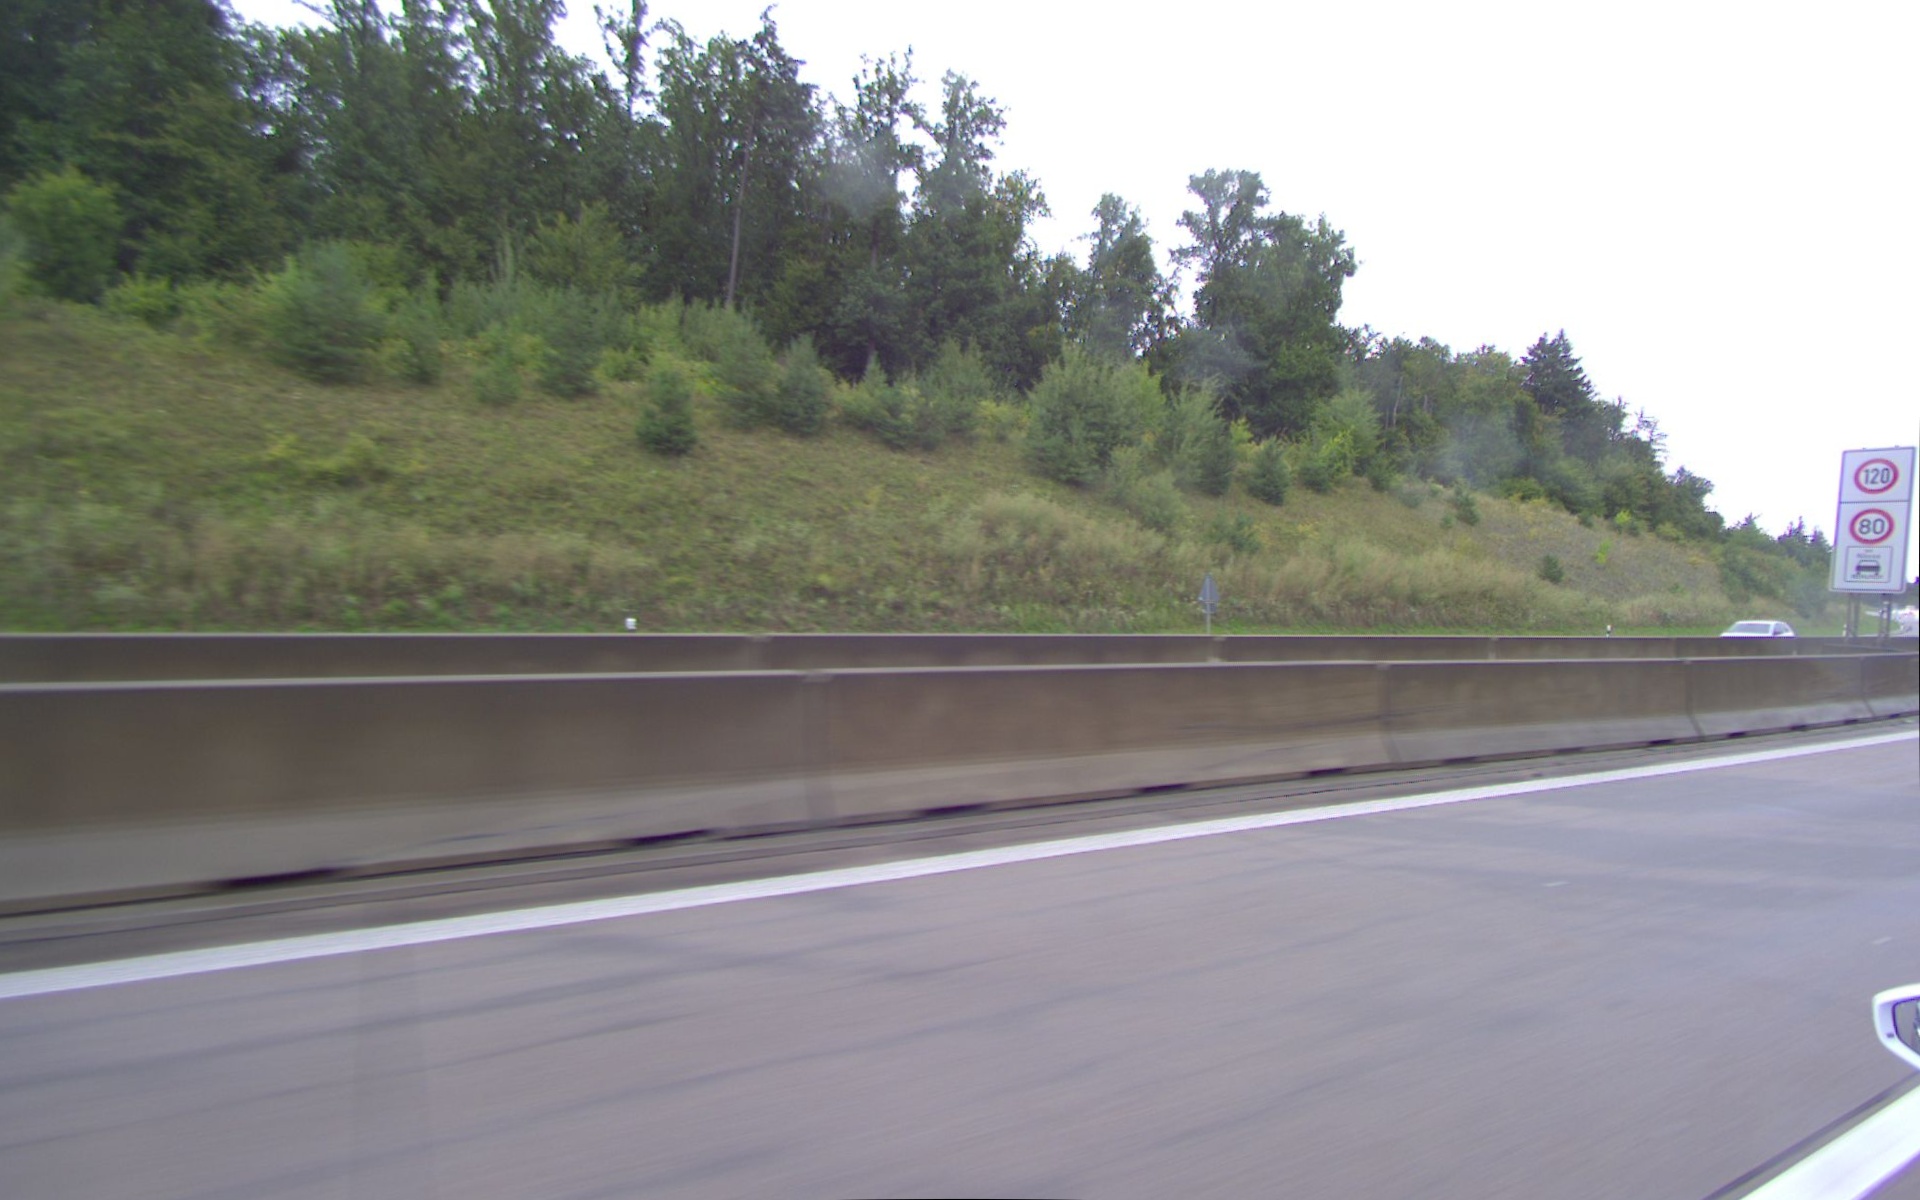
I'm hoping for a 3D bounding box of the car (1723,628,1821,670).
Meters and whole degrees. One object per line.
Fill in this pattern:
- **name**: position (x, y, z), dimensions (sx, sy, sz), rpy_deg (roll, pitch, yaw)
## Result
- **car**: position (31.826, 1.885, 39.352), dimensions (3.955, 1.538, 1.767), rpy_deg (1, -1, -32)
